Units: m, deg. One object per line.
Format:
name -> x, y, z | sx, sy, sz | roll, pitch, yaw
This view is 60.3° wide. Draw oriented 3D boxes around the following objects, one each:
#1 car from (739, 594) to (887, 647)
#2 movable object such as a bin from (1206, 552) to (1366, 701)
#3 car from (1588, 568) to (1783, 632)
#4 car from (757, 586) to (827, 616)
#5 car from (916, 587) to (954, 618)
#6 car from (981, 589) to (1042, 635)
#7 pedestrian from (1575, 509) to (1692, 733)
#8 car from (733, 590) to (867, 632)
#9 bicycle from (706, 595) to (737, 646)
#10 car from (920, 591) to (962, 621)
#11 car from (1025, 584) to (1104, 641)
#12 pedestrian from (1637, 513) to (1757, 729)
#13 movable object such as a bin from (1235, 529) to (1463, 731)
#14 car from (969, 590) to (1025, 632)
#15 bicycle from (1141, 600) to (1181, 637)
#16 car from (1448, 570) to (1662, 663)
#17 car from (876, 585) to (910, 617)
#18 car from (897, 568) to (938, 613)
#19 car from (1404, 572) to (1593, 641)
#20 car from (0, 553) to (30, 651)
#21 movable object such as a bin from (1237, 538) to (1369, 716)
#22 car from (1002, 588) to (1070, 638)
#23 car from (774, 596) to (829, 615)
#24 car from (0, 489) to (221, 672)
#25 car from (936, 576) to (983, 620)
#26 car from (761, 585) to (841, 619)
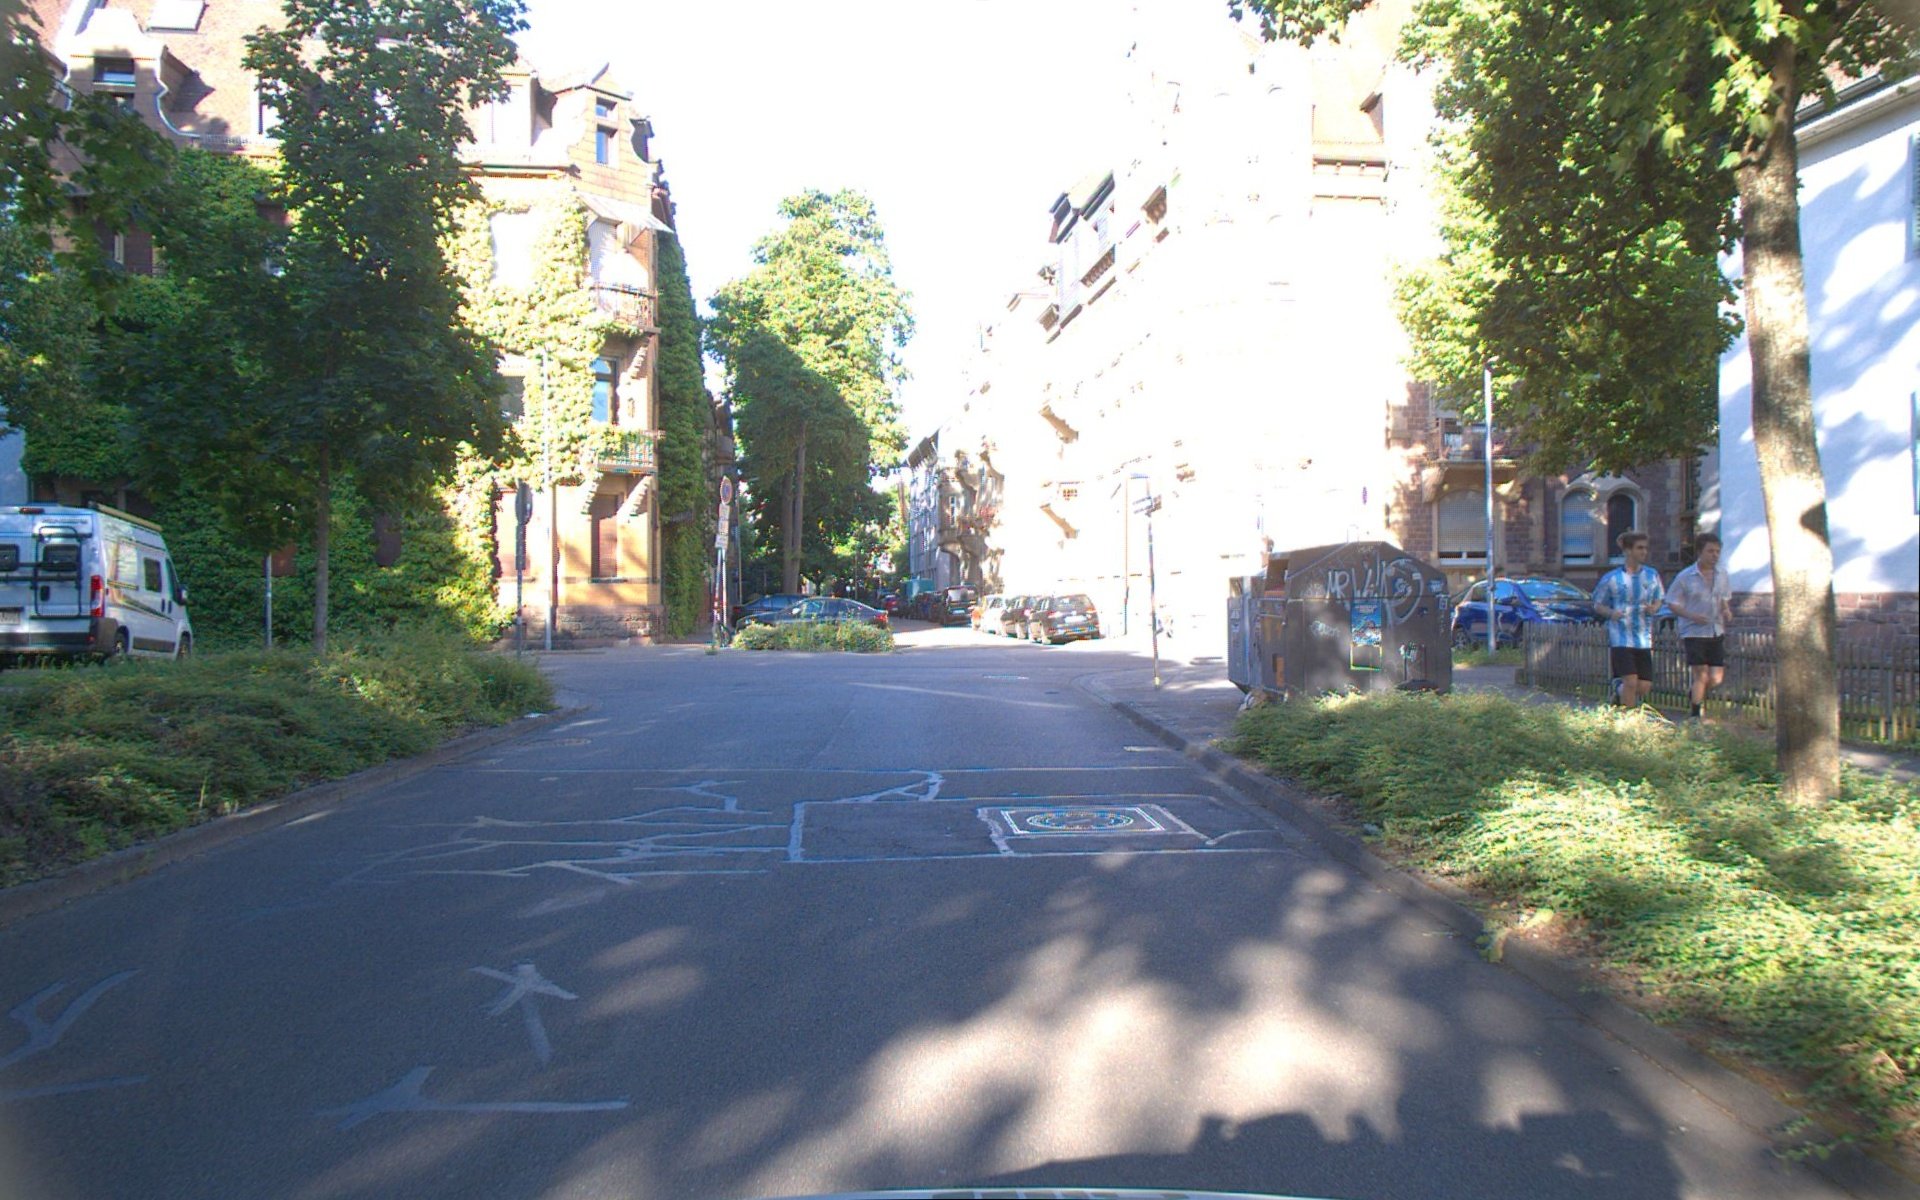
car -> -4.285, 0.584, 47.884 | 4.164, 1.460, 1.996 | 1, 0, -9
movable object such as a bin -> 3.851, 0.303, 19.742 | 1.554, 1.686, 1.639 | 1, 0, -2
car -> 18.435, -0.023, 42.074 | 4.361, 1.525, 1.731 | -1, 1, -11
car -> -9.105, 0.060, 89.462 | 3.731, 1.603, 1.707 | 1, 0, -9
car -> -1.443, 0.145, 93.735 | 1.768, 1.708, 3.994 | 1, 0, -6
car -> 1.888, 0.432, 61.443 | 1.704, 1.609, 3.994 | 1, 0, -6
pedestrian -> 5.964, 0.181, 14.681 | 0.659, 1.927, 0.895 | 0, 0, -1
car -> -5.829, 0.403, 60.073 | 4.744, 1.460, 1.707 | 1, 0, -9
bicycle -> -6.257, 0.523, 43.463 | 0.551, 1.290, 1.603 | -1, 0, 1
car -> -1.025, 0.321, 86.636 | 1.768, 1.541, 3.994 | 1, 0, -6
car -> 3.111, 0.365, 49.812 | 1.704, 1.609, 3.994 | 1, 0, -6
pedestrian -> 6.784, 0.186, 15.265 | 0.629, 1.927, 1.018 | 0, 0, -1
movable object such as a bin -> 3.778, 0.281, 16.263 | 1.881, 1.886, 1.393 | 1, 0, -2
car -> 1.451, 0.433, 65.975 | 1.704, 1.609, 3.994 | 1, 0, -6
bicycle -> 5.655, 0.506, 46.542 | 0.506, 1.015, 1.568 | 1, 0, -18
car -> 10.793, 0.332, 30.331 | 1.957, 1.583, 3.989 | 1, -2, -10
car -> -4.887, 0.058, 120.649 | 2.124, 2.276, 4.784 | 1, 0, -6
car -> -2.692, -0.569, 103.671 | 2.124, 2.738, 4.784 | 1, 0, -6
car -> 13.413, 0.154, 41.278 | 4.169, 1.650, 1.731 | 1, 1, -11
car -> -16.483, 0.029, 25.942 | 1.936, 1.602, 4.290 | 1, 0, -10
movable object such as a bin -> 3.731, 0.287, 18.128 | 1.124, 1.859, 1.386 | 1, 0, -2
car -> 2.529, 0.432, 56.077 | 1.704, 1.609, 3.994 | 1, 0, -6
car -> -11.056, 0.361, 115.226 | 3.731, 1.262, 1.707 | 1, 0, -9
car -> -13.967, -0.276, 26.895 | 2.191, 2.660, 5.619 | 1, 0, -10
car -> -0.034, -0.095, 78.325 | 1.768, 2.039, 3.994 | 1, 0, -6
car -> -7.673, 0.110, 79.834 | 3.732, 1.603, 1.706 | 1, 0, -11
